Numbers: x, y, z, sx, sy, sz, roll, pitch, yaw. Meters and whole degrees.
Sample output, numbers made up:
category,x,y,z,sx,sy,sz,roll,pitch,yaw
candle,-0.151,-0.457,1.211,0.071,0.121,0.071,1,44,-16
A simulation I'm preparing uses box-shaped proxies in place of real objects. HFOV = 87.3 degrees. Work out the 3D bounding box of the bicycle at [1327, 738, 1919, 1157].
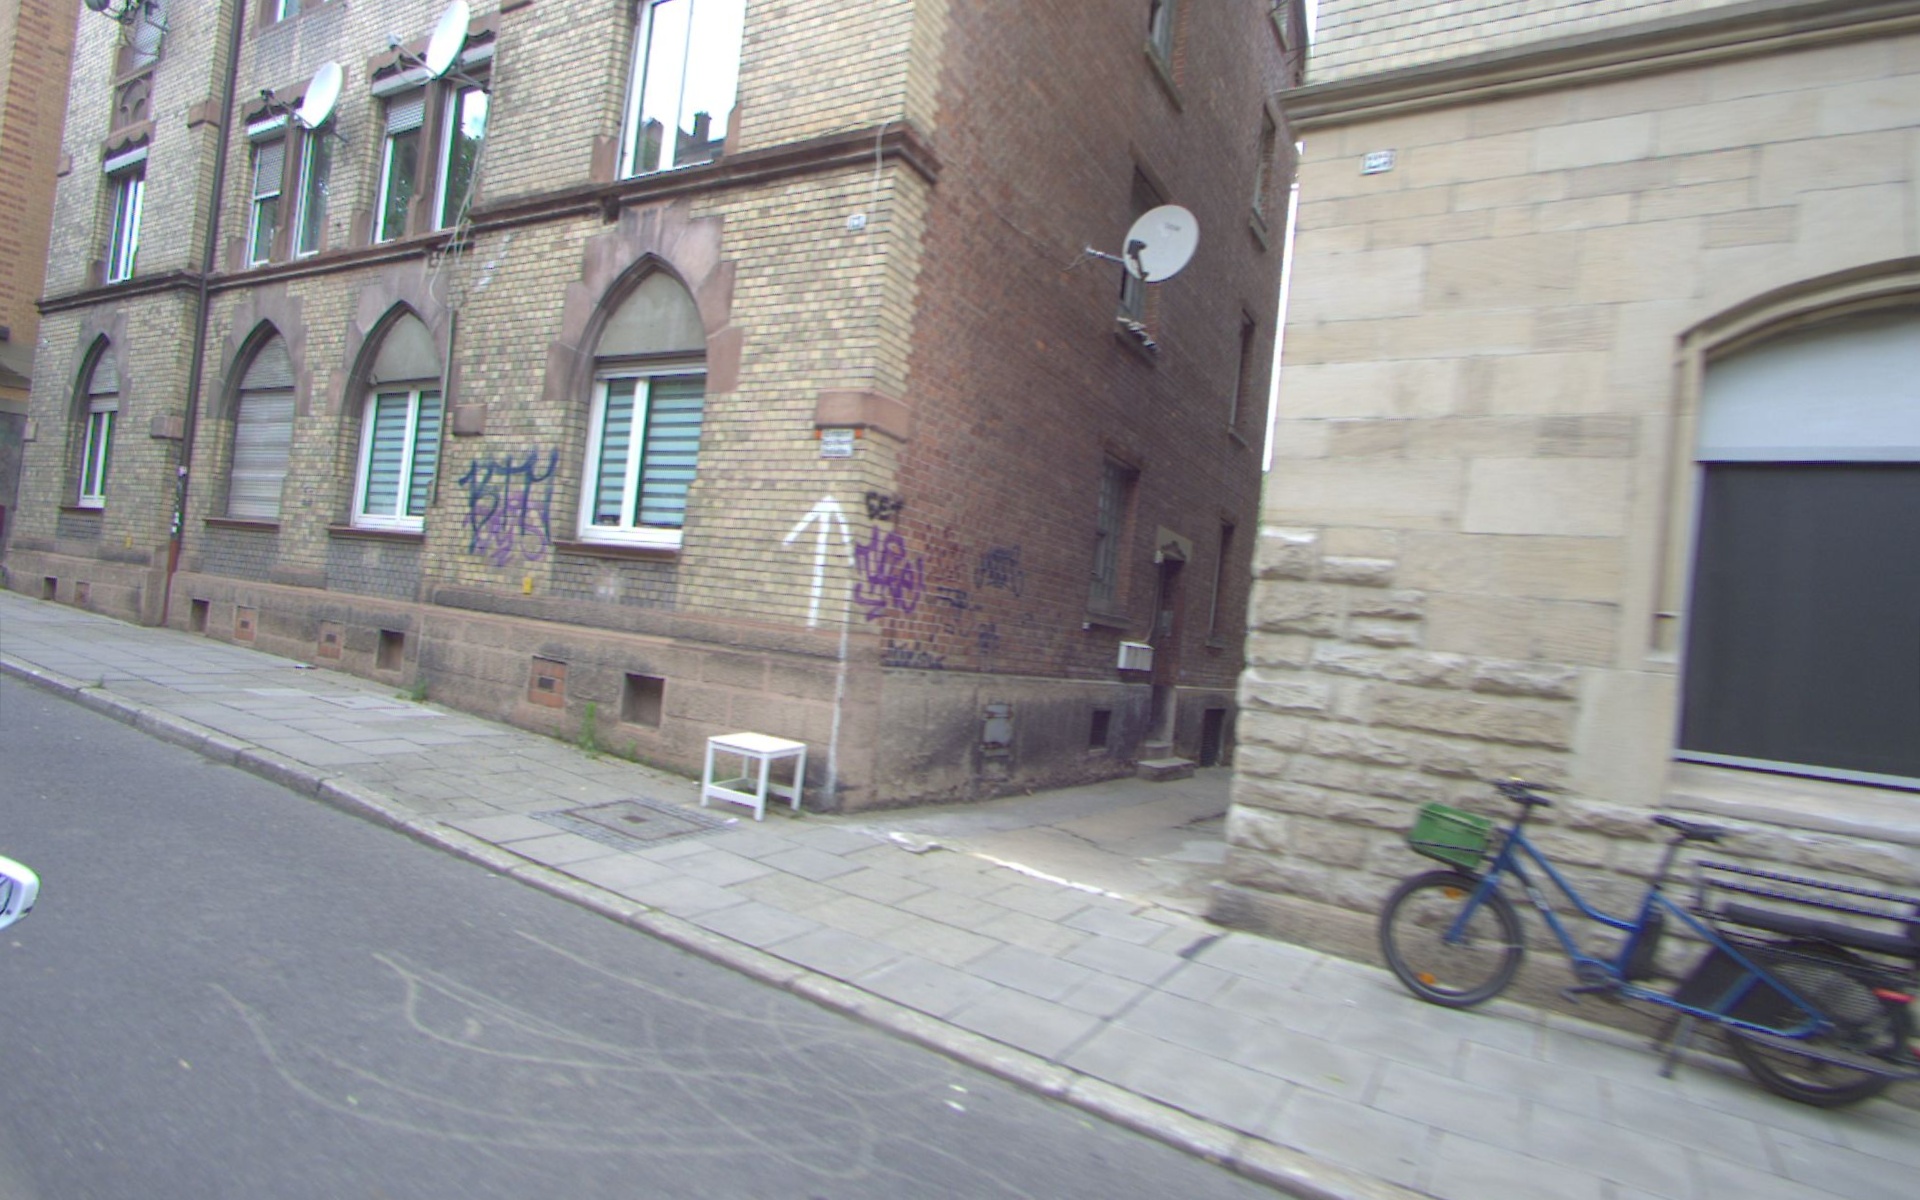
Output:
category,x,y,z,sx,sy,sz,roll,pitch,yaw
bicycle,2.992,1.380,4.359,2.443,1.163,0.682,6,-1,33
